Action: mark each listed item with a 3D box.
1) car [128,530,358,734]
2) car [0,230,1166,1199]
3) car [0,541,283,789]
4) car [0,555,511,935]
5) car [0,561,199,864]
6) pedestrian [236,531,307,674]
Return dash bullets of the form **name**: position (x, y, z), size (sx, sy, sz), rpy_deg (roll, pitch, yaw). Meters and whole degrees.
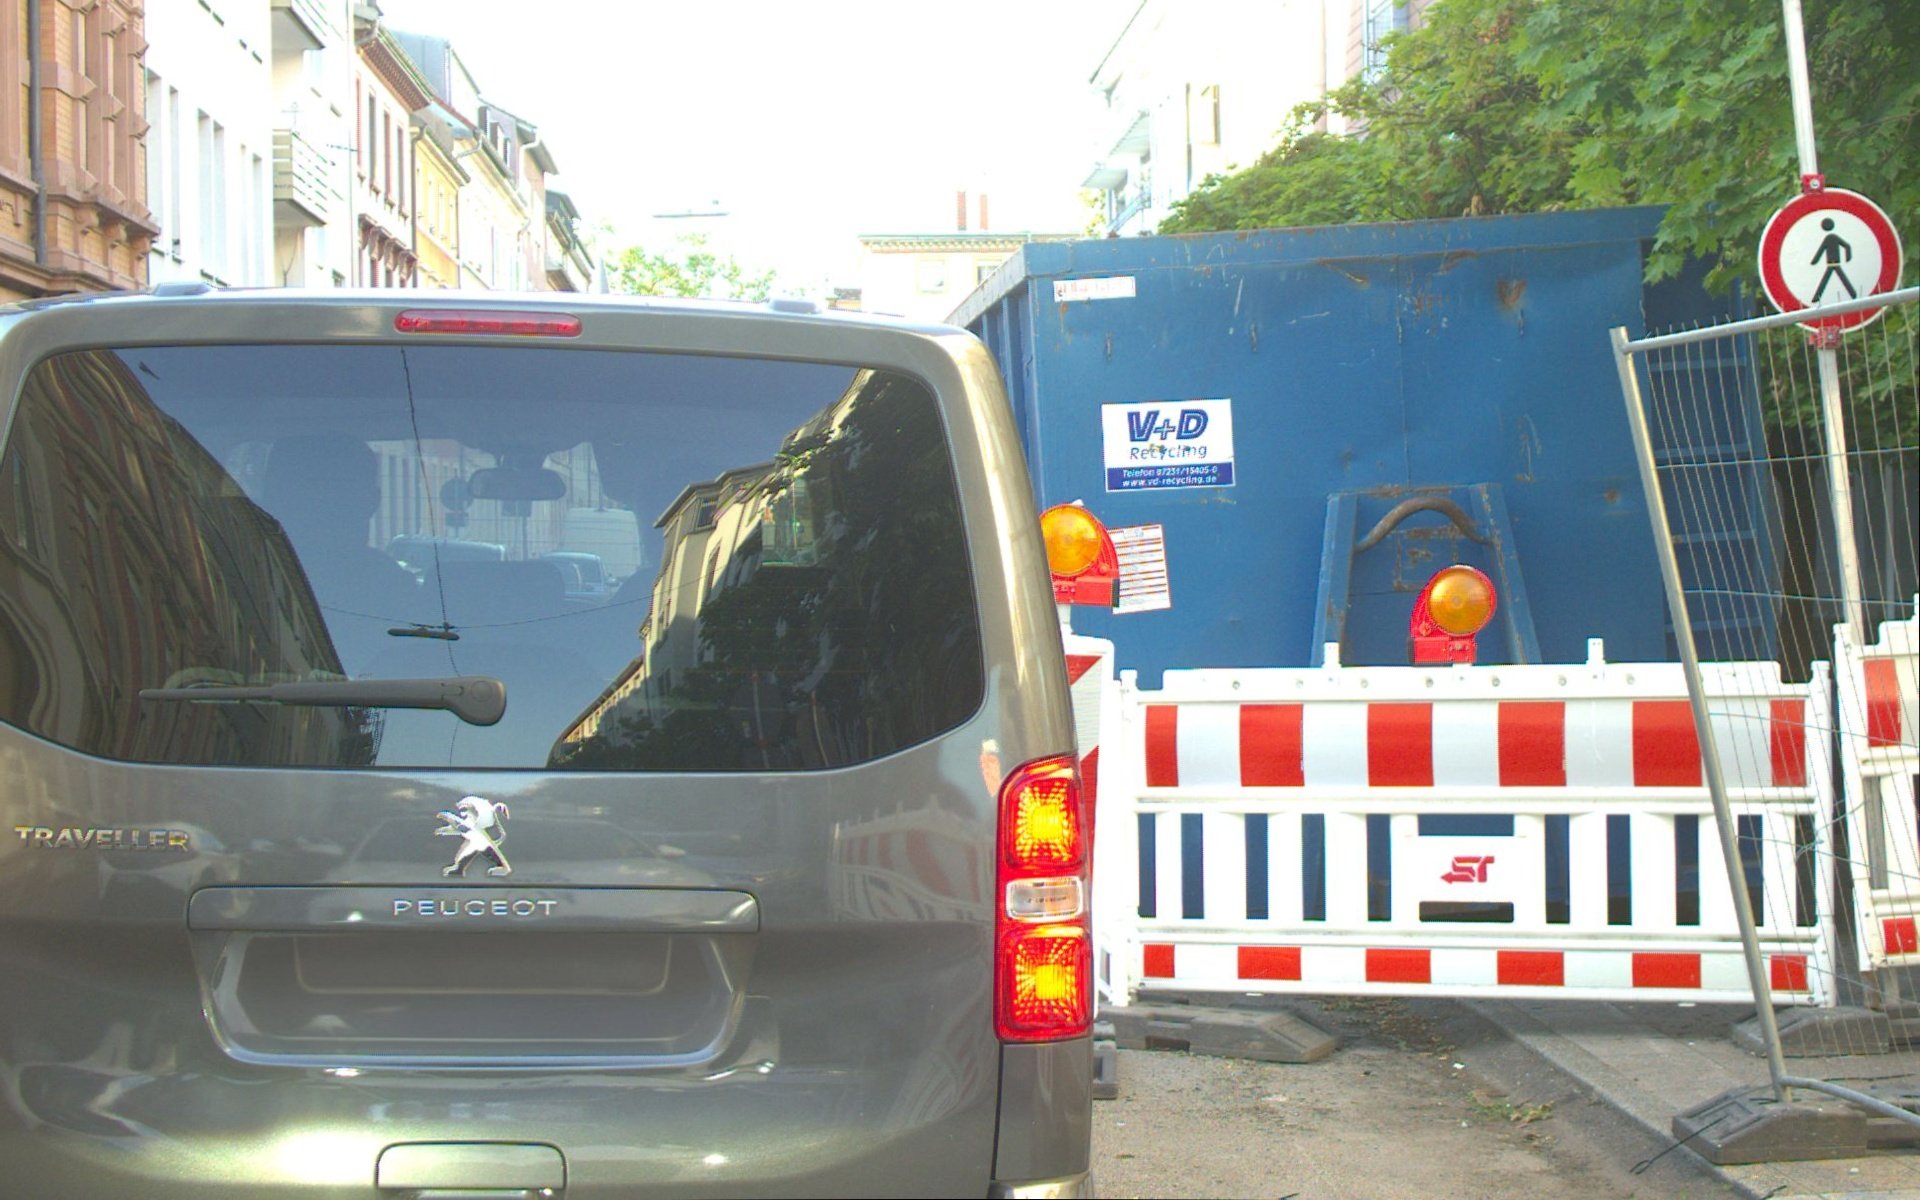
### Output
- **car**: position (-6.451, 0.267, 31.176), size (1.666, 1.660, 3.092), rpy_deg (4, 0, -7)
- **car**: position (-0.900, 0.454, 6.542), size (1.865, 1.880, 4.236), rpy_deg (0, 0, -7)
- **car**: position (-5.773, 0.410, 24.096), size (1.655, 1.520, 3.419), rpy_deg (4, 0, -7)
- **car**: position (-3.113, 0.578, 15.226), size (1.656, 1.455, 3.418), rpy_deg (-2, 0, 2)
- **car**: position (-5.227, 0.526, 18.789), size (1.655, 1.455, 3.419), rpy_deg (4, 0, -7)
- **pedestrian**: position (-8.111, 0.021, 40.525), size (0.739, 1.659, 0.704), rpy_deg (-1, 1, -7)
